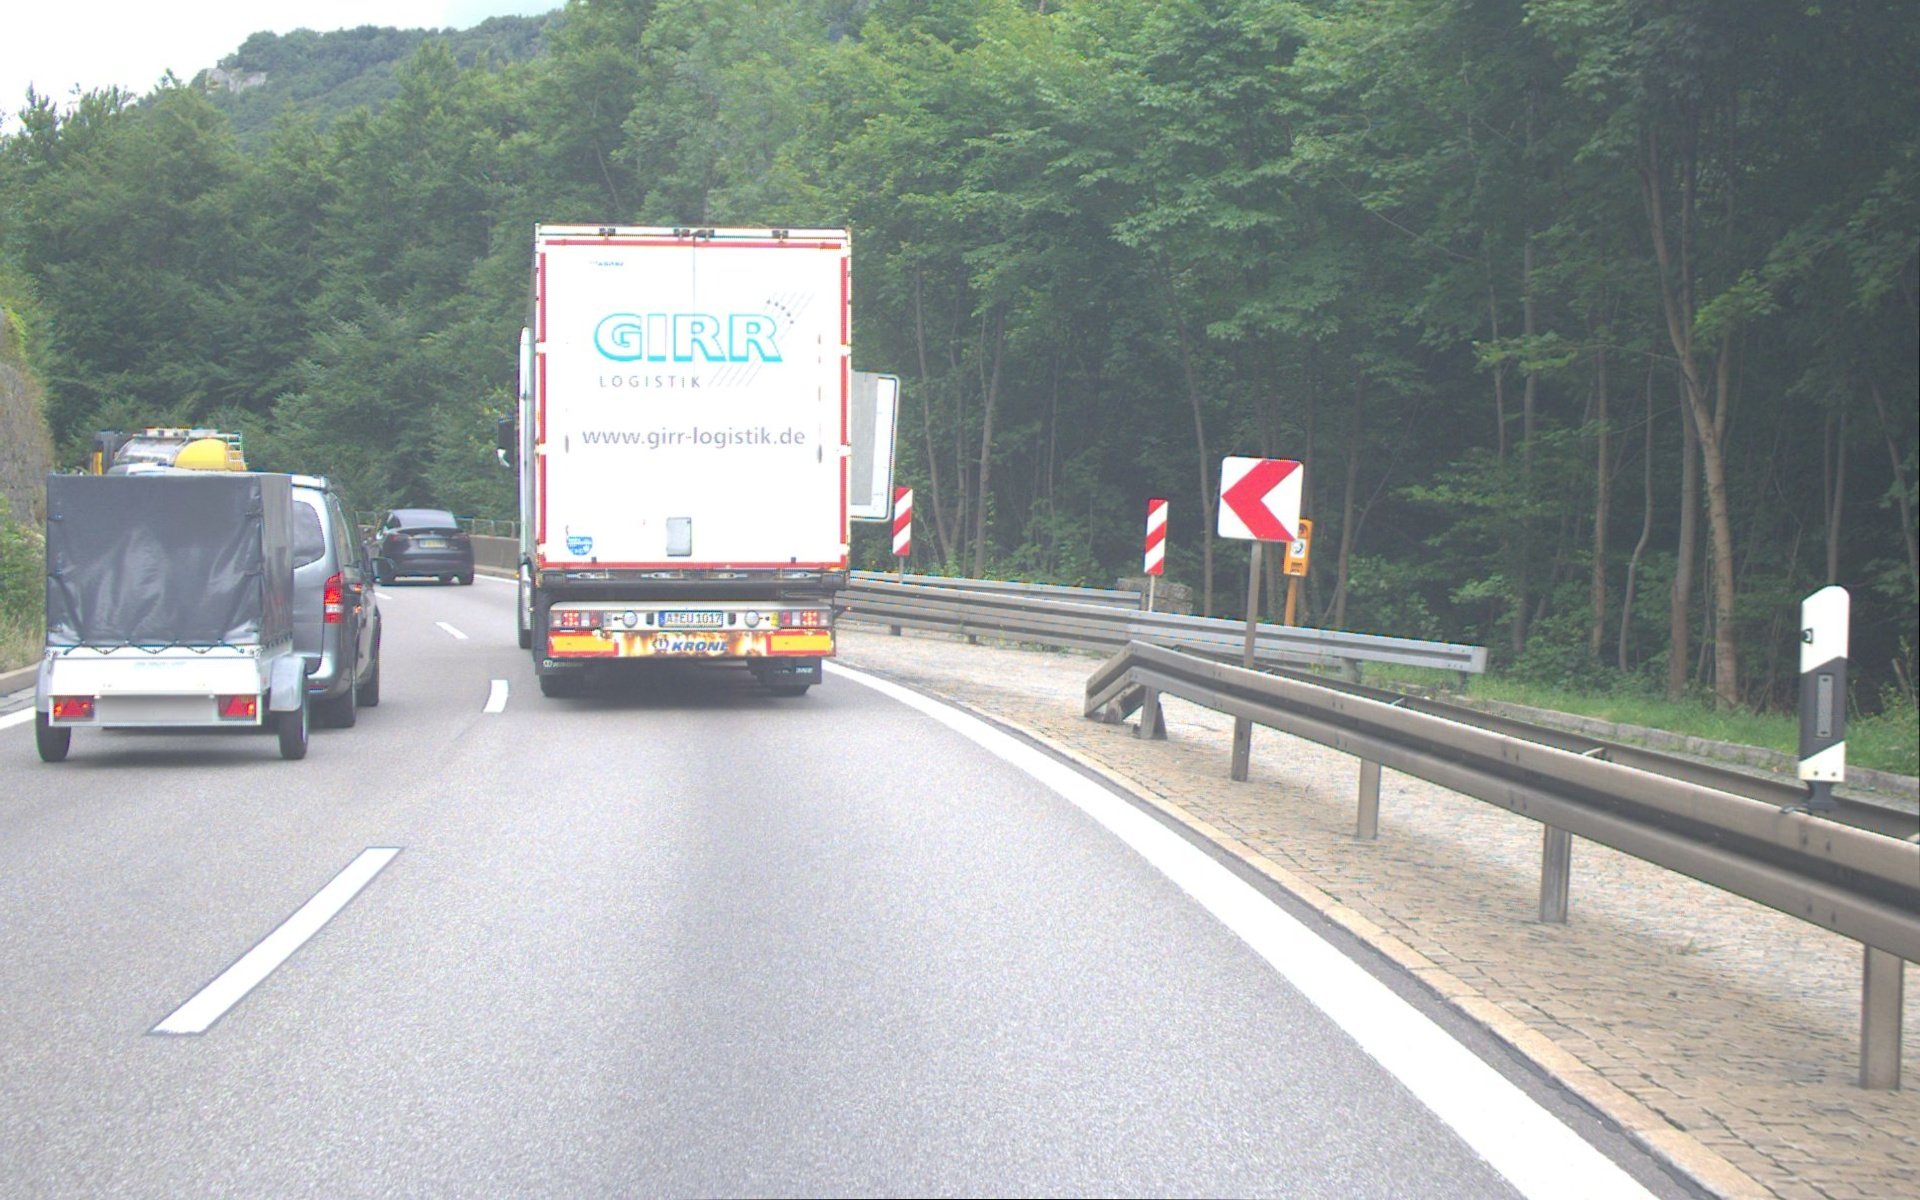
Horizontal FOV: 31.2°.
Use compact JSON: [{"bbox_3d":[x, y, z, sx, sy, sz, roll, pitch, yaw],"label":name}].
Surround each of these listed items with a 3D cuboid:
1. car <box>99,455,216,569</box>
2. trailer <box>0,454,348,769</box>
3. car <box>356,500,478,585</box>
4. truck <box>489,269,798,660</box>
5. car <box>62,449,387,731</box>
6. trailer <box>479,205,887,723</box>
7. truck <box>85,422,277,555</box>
[{"bbox_3d":[-20.163,-2.252,86.183,1.988,2.663,6.939,2,1,-20],"label":"car"},{"bbox_3d":[-5.186,0.037,22.882,1.970,1.933,3.431,0,1,-7],"label":"trailer"},{"bbox_3d":[-11.487,-1.234,72.491,1.993,1.656,4.002,2,1,-16],"label":"car"},{"bbox_3d":[-3.780,-1.598,39.790,3.057,3.972,7.189,3,3,-7],"label":"truck"},{"bbox_3d":[-5.701,-0.127,27.292,1.993,2.007,5.541,0,1,-7],"label":"car"},{"bbox_3d":[-2.955,-1.380,33.423,3.057,3.972,12.141,3,3,-7],"label":"trailer"},{"bbox_3d":[-24.953,-3.565,109.476,3.057,3.972,13.701,-1,2,-25],"label":"truck"}]
